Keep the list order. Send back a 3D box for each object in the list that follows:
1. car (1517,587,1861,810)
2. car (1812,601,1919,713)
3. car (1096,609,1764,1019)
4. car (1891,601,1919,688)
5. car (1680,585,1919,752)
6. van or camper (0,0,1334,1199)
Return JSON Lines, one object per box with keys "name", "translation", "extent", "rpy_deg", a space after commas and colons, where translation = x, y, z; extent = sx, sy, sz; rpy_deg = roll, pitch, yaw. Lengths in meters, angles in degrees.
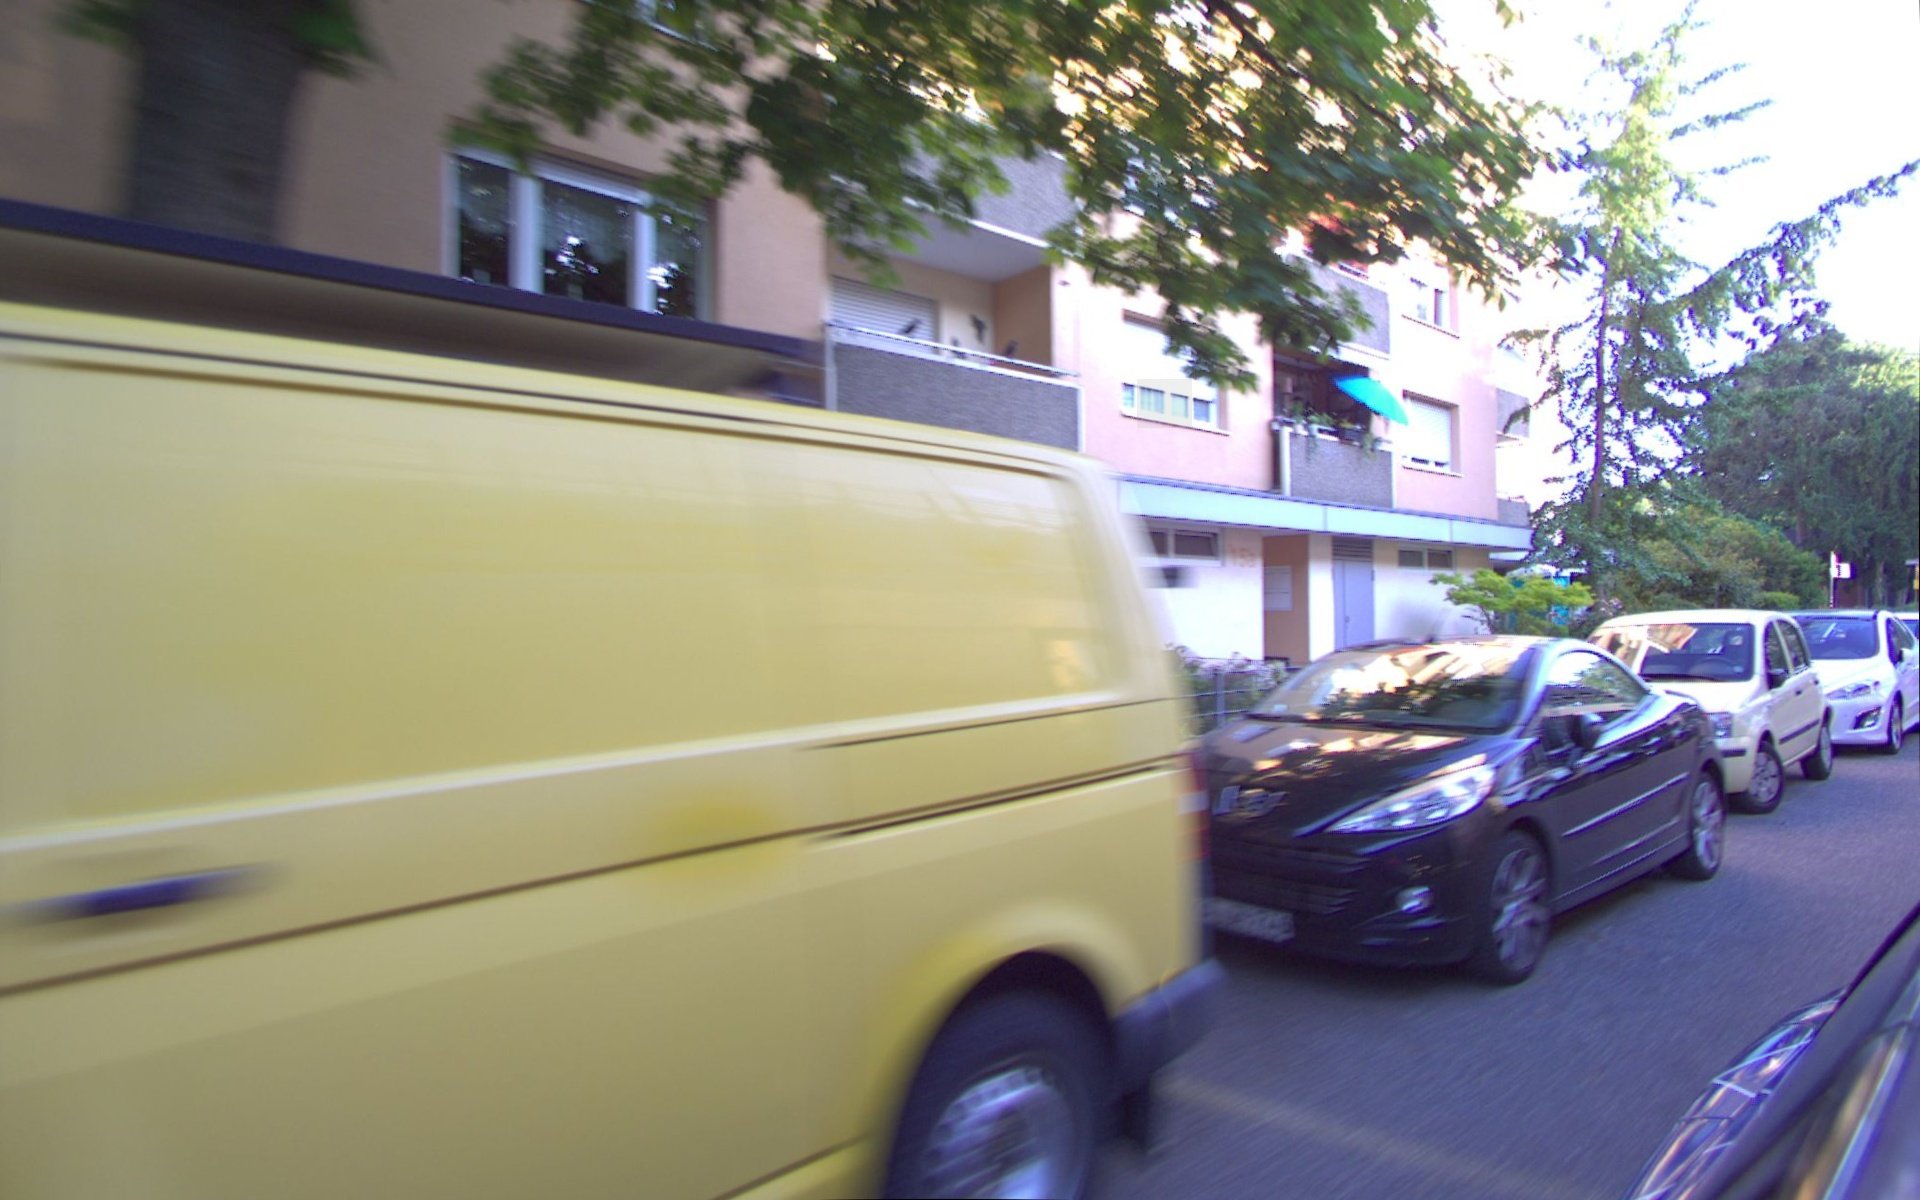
{"name": "car", "translation": [6.339, 0.688, 8.692], "extent": [3.416, 1.530, 1.613], "rpy_deg": [0, -1, -40]}
{"name": "car", "translation": [14.012, 0.768, 14.890], "extent": [3.982, 1.480, 1.612], "rpy_deg": [0, -1, -40]}
{"name": "car", "translation": [2.665, 0.761, 5.330], "extent": [3.927, 1.399, 1.610], "rpy_deg": [1, -1, -38]}
{"name": "car", "translation": [18.038, 0.749, 17.856], "extent": [4.543, 1.435, 1.813], "rpy_deg": [0, -1, -40]}
{"name": "car", "translation": [9.982, 0.664, 11.648], "extent": [4.119, 1.582, 1.795], "rpy_deg": [0, -1, -40]}
{"name": "van or camper", "translation": [-1.506, 0.371, 1.963], "extent": [5.001, 2.123, 2.067], "rpy_deg": [1, -1, -41]}
